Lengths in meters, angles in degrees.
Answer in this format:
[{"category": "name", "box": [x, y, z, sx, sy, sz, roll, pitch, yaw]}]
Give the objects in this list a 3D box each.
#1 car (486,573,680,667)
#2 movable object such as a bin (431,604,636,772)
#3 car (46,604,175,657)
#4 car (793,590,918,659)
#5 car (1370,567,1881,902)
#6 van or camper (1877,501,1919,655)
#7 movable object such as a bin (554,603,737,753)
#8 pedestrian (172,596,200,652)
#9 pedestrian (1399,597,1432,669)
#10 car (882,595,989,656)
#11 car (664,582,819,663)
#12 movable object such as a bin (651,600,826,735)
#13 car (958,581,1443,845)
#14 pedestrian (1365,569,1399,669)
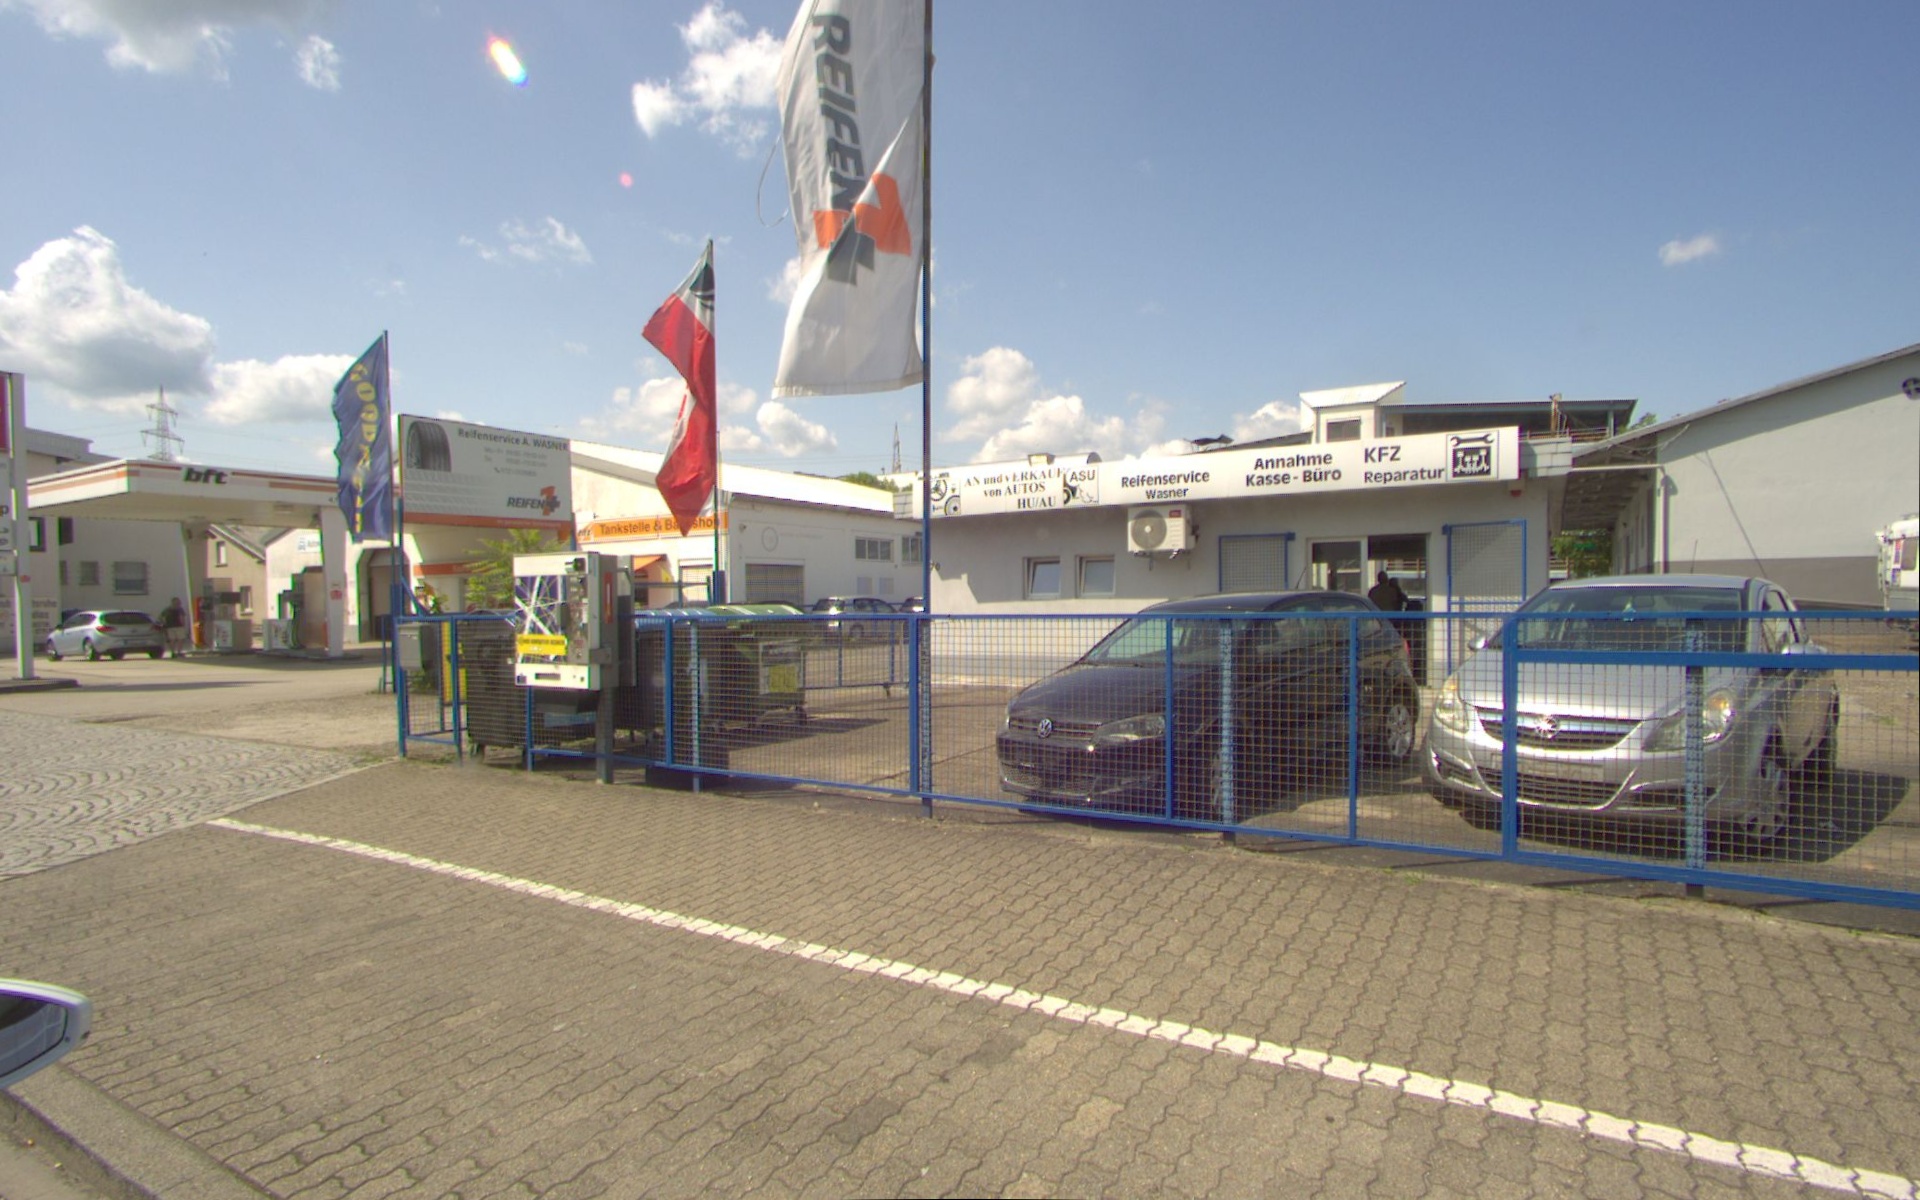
[{"category": "car", "box": [-8.914, 0.434, 23.982, 1.971, 2.040, 3.979, 0, 0, 32]}, {"category": "movable object such as a bin", "box": [-4.134, 0.784, 9.745, 1.434, 1.473, 1.224, 0, 1, 31]}, {"category": "car", "box": [-25.834, 0.887, 30.435, 3.950, 1.499, 1.829, 0, 1, 31]}, {"category": "car", "box": [-3.265, 0.726, 31.987, 1.971, 2.040, 3.979, 0, 0, 32]}, {"category": "car", "box": [4.500, 0.588, 6.511, 4.104, 1.499, 1.787, -1, 0, -42]}, {"category": "van or camper", "box": [21.346, -0.458, 19.319, 4.983, 3.002, 2.276, 0, 1, 31]}, {"category": "movable object such as a bin", "box": [-3.373, 0.776, 10.785, 1.434, 1.473, 1.224, 0, 1, 31]}, {"category": "pedestrian", "box": [-23.740, 0.727, 30.716, 0.628, 1.705, 0.618, -1, 1, -36]}, {"category": "pedestrian", "box": [7.978, 0.562, 17.524, 0.480, 1.229, 0.499, 0, 1, 30]}, {"category": "car", "box": [-0.804, 0.861, 35.876, 1.971, 2.040, 3.979, 0, 0, 32]}, {"category": "car", "box": [-5.948, 0.570, 27.636, 1.971, 2.040, 3.979, 0, 0, 32]}, {"category": "movable object such as a bin", "box": [-2.607, 0.743, 11.899, 1.433, 1.473, 1.427, 0, 1, 31]}, {"category": "car", "box": [2.012, 0.628, 7.647, 3.962, 1.499, 1.705, -1, 1, -43]}, {"category": "pedestrian", "box": [7.386, 0.323, 17.517, 0.480, 1.710, 0.499, 0, 1, 30]}]
